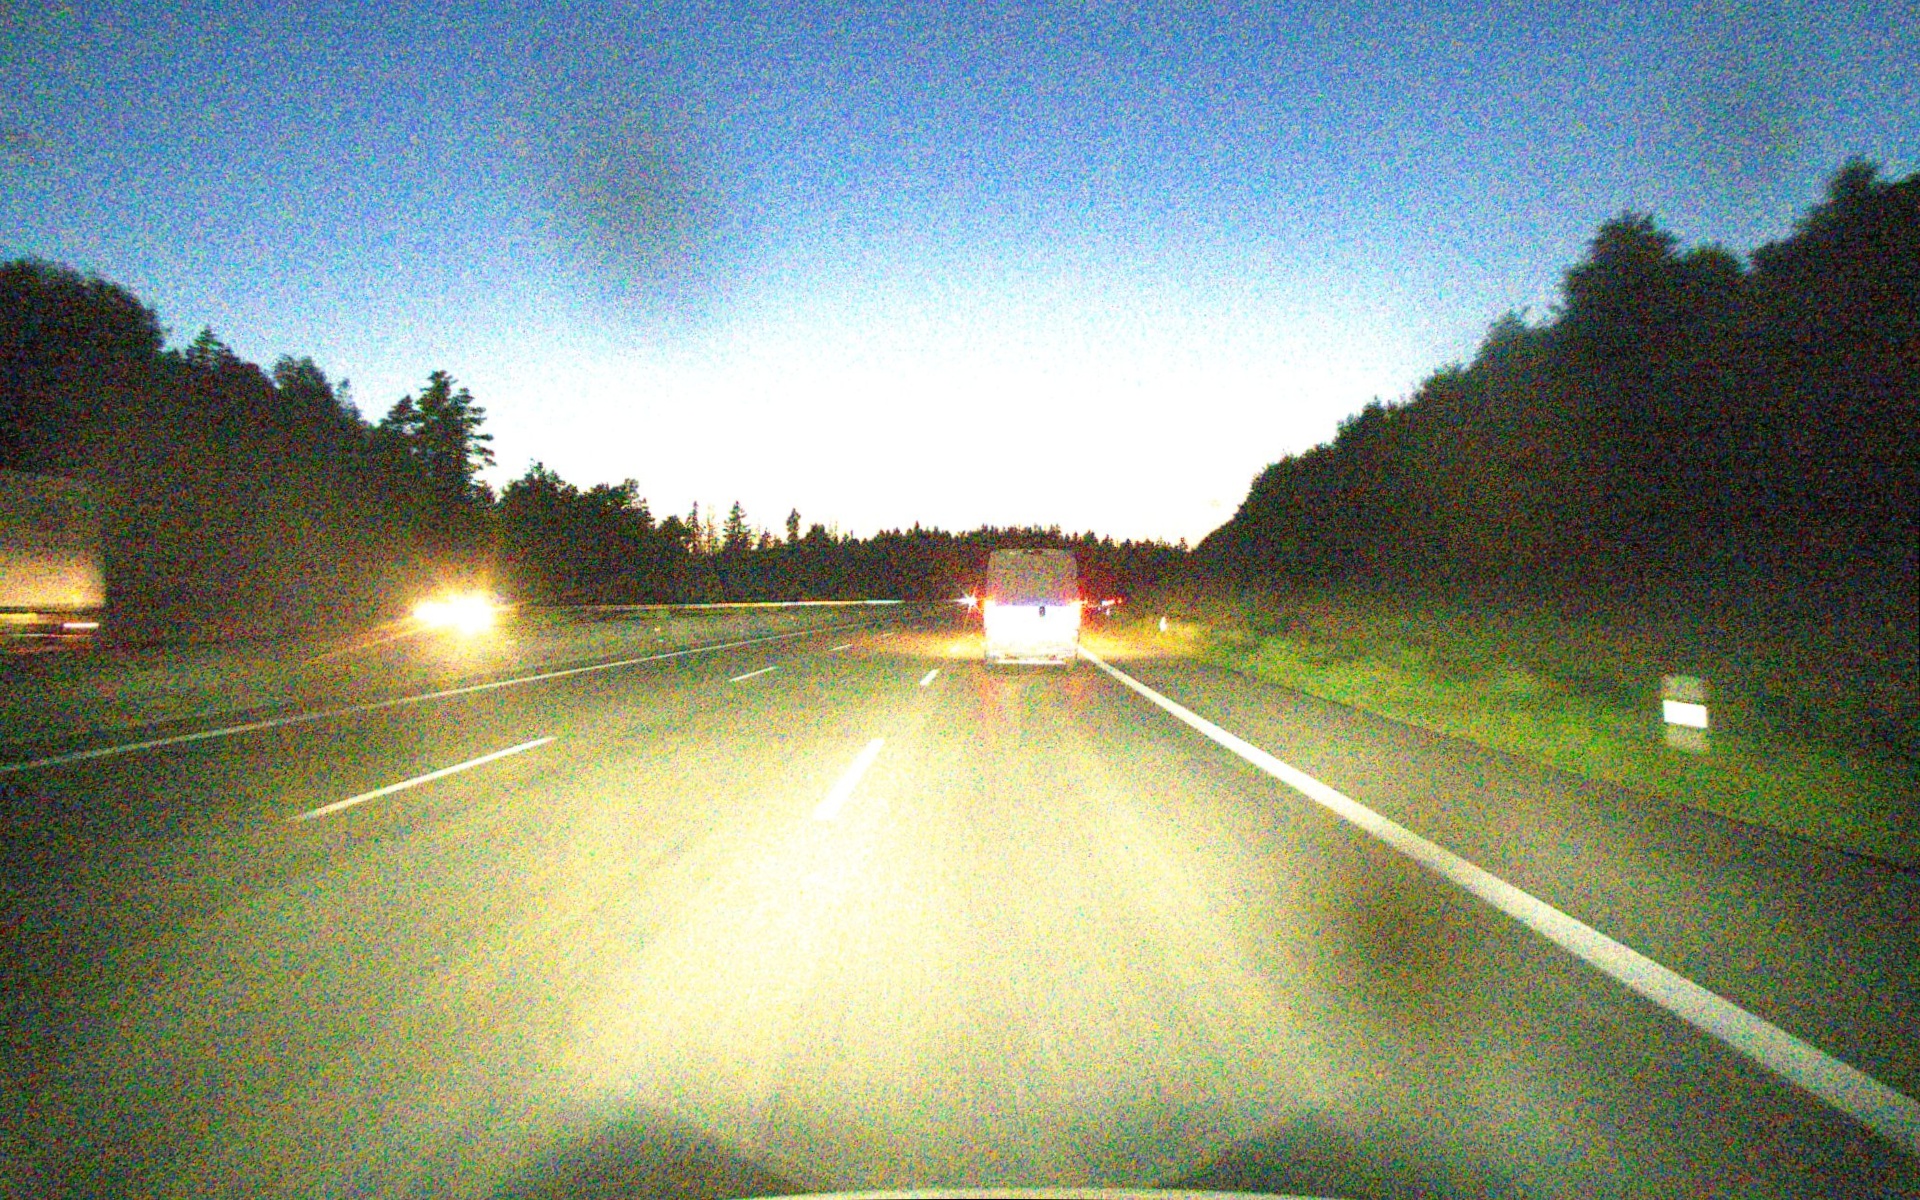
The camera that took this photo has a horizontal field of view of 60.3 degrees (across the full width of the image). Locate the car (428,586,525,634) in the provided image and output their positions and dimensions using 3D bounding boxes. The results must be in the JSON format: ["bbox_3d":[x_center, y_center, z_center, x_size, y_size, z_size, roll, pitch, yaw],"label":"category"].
[{"bbox_3d":[-16.901,0.377,58.034,1.952,1.607,4.585,0,-1,2],"label":"car"}]

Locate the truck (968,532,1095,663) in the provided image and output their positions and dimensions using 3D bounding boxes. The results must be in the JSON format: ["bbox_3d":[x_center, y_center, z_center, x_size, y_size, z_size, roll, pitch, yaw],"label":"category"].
[{"bbox_3d":[1.494,-0.007,38.021,2.576,2.670,8.684,0,-1,0],"label":"truck"}]

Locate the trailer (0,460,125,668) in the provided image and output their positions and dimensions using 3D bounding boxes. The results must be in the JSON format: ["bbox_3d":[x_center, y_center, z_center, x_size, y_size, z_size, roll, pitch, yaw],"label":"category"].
[{"bbox_3d":[-21.167,-0.788,30.284,2.633,4.292,17.255,0,-1,1],"label":"trailer"}]
